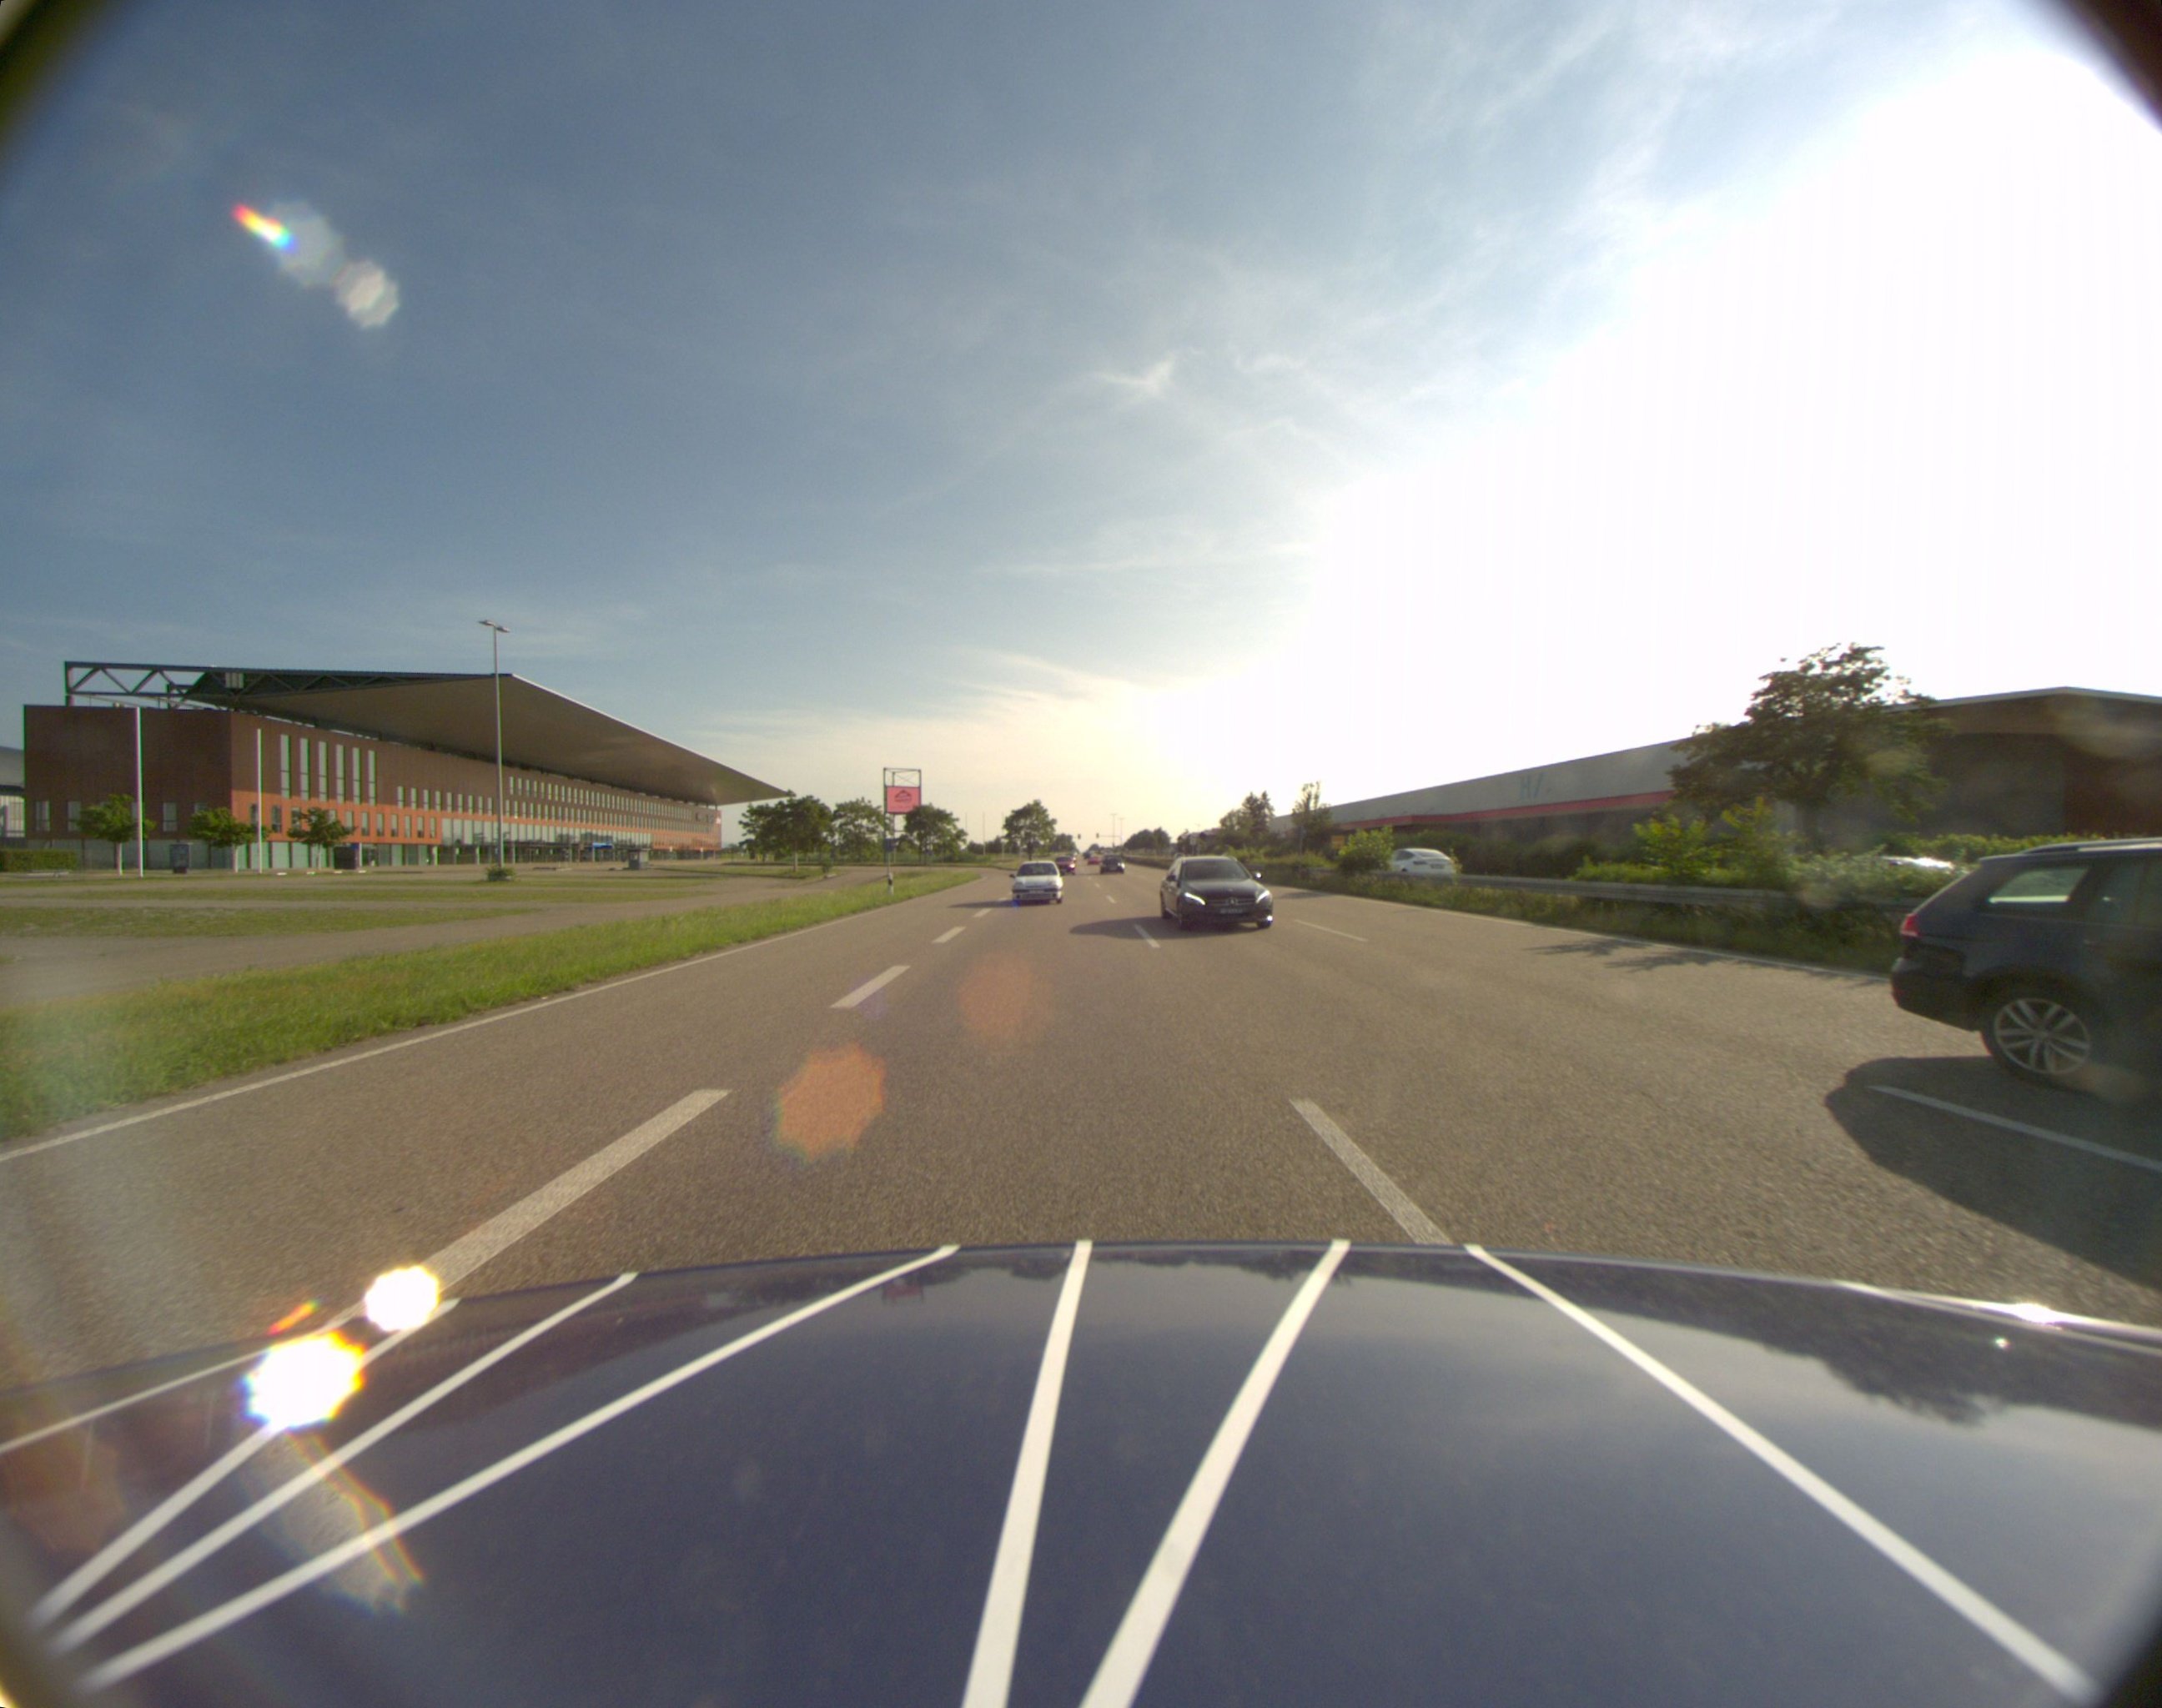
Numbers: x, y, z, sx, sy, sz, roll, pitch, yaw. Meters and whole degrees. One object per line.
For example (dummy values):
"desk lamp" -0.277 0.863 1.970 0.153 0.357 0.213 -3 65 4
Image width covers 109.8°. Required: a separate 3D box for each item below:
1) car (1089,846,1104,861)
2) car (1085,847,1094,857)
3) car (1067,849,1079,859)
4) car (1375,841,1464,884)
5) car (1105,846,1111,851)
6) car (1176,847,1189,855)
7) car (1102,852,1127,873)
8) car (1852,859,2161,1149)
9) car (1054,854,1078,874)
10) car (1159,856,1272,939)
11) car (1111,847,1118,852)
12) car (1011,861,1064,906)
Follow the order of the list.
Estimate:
"car" 2.040 -0.074 100.431 1.799 1.926 3.999 -1 1 0
"car" 1.797 -0.376 161.073 1.998 2.002 3.999 -1 1 0
"car" -1.194 0.033 116.668 1.751 1.512 3.739 -1 0 0
"car" 14.086 0.296 31.902 1.933 1.603 3.999 -2 1 0
"car" 8.769 -1.743 244.777 1.751 1.512 3.738 -1 0 -2
"car" 18.331 -0.569 137.365 1.784 1.416 3.999 0 1 0
"car" 2.571 0.639 59.448 1.758 1.499 3.422 -1 0 0
"car" 6.371 0.779 3.086 1.650 1.462 4.776 -1 0 0
"car" -1.176 0.770 60.431 1.751 1.512 3.739 -1 0 0
"car" 2.729 0.812 16.501 1.577 1.462 5.022 -1 0 0
"car" 9.650 -1.372 220.651 1.711 1.428 3.564 -1 0 0
"car" -1.417 0.953 25.877 1.578 1.371 3.451 -1 0 0
